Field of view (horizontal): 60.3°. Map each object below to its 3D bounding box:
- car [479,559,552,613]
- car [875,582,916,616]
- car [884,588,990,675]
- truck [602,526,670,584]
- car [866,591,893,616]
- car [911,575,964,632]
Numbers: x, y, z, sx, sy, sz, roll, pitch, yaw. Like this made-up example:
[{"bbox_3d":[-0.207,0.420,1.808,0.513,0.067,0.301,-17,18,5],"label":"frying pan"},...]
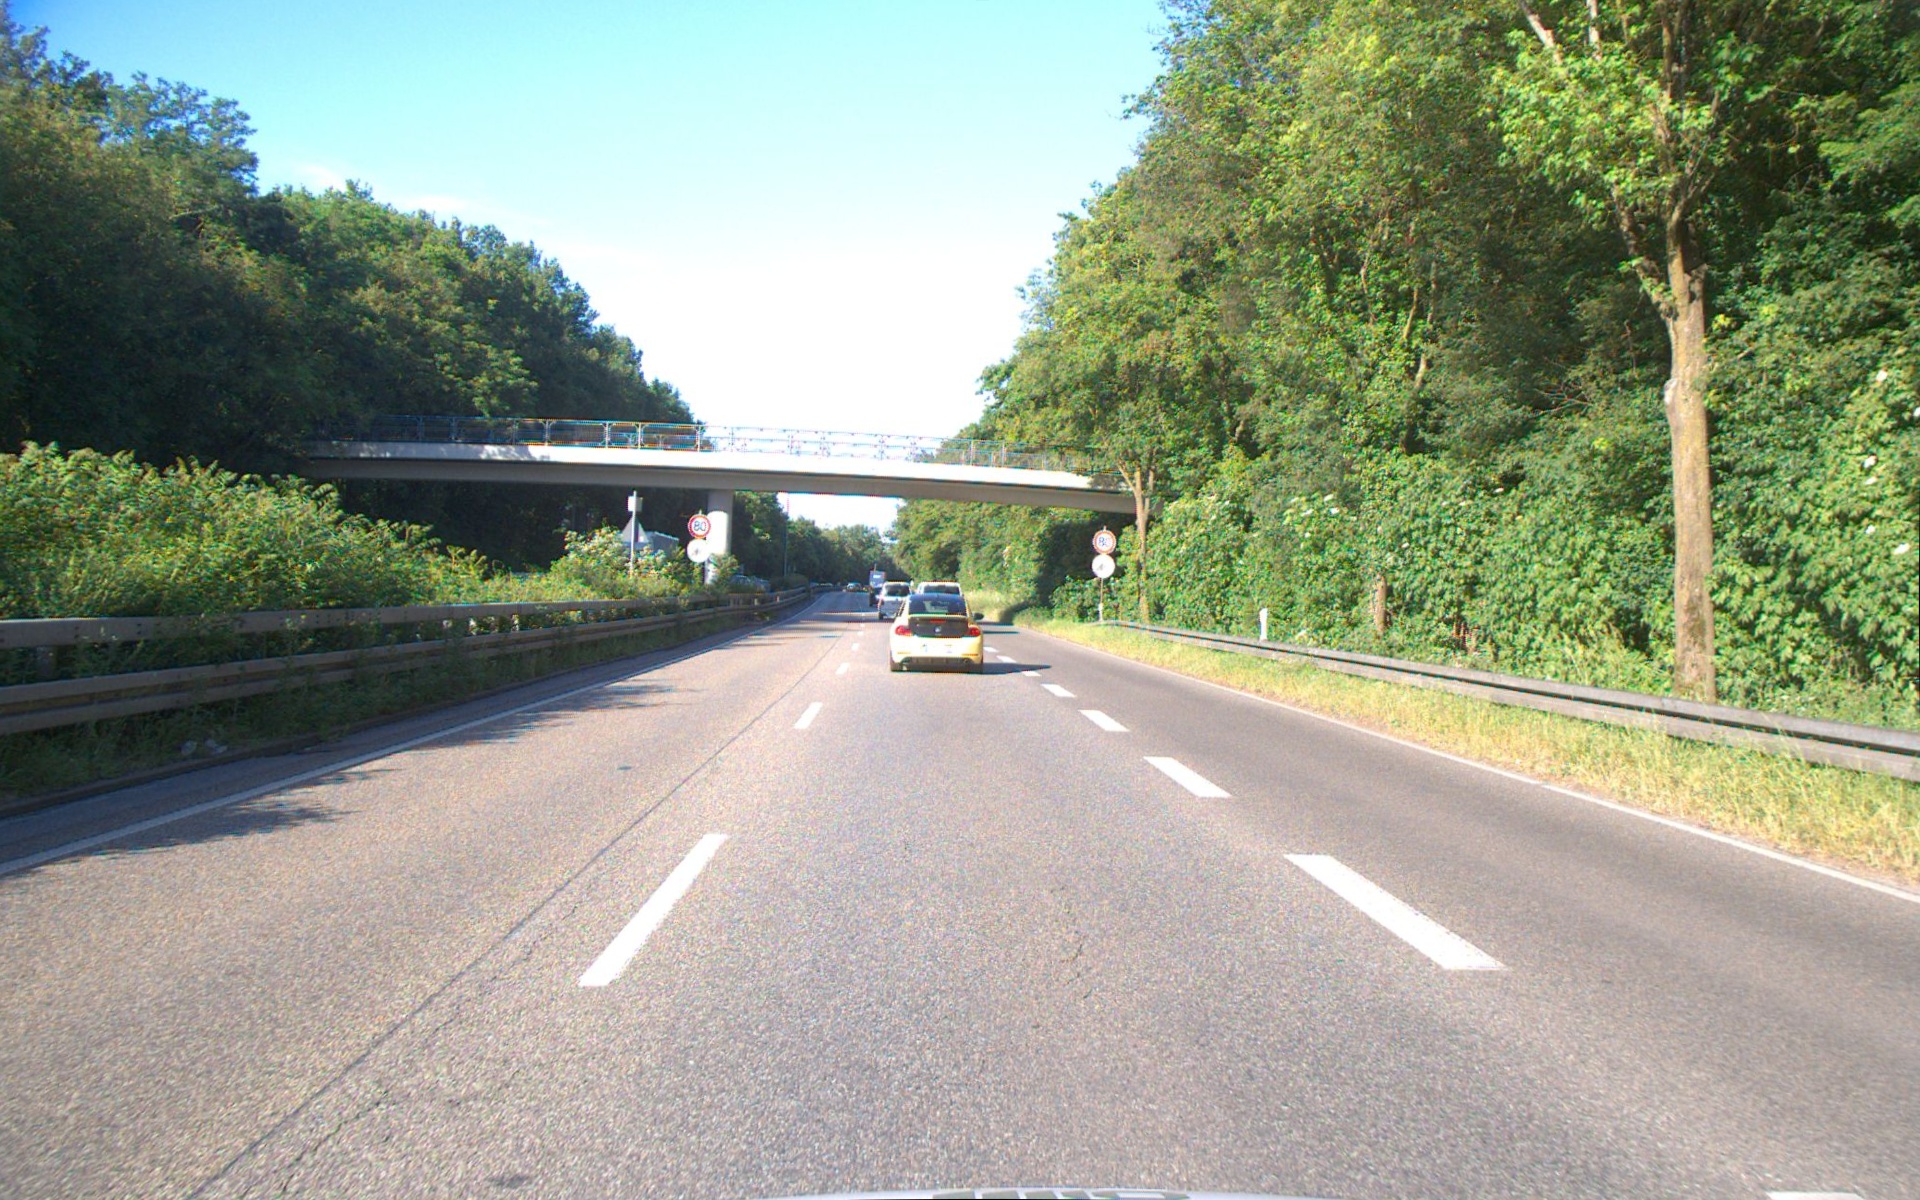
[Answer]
[{"bbox_3d":[-17.827,-0.548,66.504,1.953,2.049,3.998,1,0,-2],"label":"car"},{"bbox_3d":[-3.164,-0.052,81.333,1.900,1.572,3.421,1,0,-2],"label":"car"},{"bbox_3d":[-0.428,0.570,31.966,1.899,1.534,3.422,1,0,0],"label":"car"},{"bbox_3d":[-19.386,-2.637,99.324,2.871,3.223,7.079,1,0,-3],"label":"truck"},{"bbox_3d":[-6.013,0.232,123.051,1.954,1.780,4.369,1,0,-4],"label":"car"},{"bbox_3d":[-0.785,0.126,59.405,1.706,1.861,3.422,4,0,0],"label":"car"}]
